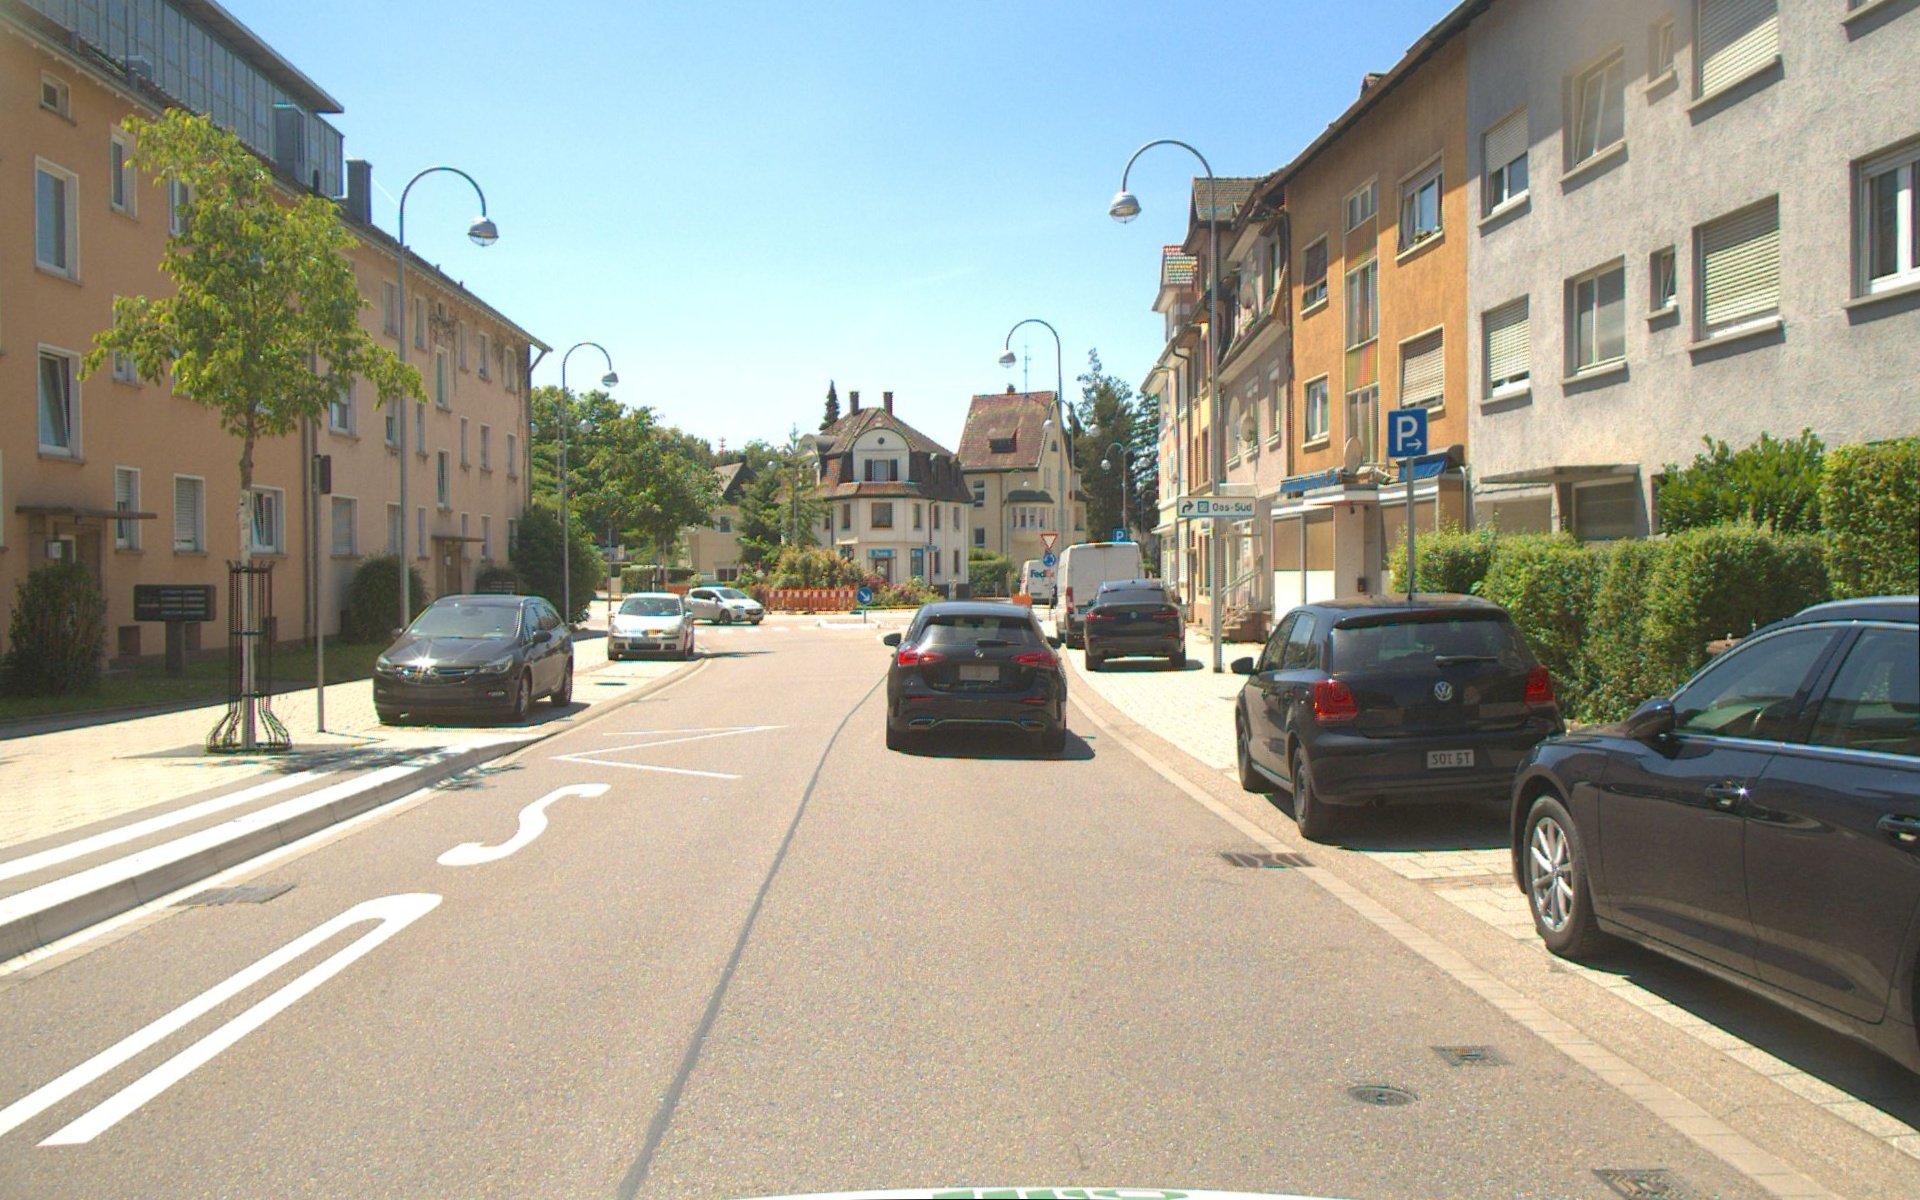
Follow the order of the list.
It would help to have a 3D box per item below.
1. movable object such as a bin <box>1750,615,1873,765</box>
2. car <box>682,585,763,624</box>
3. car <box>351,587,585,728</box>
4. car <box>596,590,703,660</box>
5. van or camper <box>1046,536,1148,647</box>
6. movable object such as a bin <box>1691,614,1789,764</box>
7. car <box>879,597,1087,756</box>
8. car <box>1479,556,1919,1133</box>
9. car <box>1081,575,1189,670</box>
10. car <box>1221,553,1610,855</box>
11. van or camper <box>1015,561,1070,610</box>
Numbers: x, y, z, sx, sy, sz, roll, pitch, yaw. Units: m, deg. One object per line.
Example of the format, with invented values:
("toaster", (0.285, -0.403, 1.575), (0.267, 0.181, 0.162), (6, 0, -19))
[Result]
("movable object such as a bin", (6.576, 0.678, 12.797), (0.542, 1.104, 0.776), (-1, 0, -1))
("car", (-9.555, 0.167, 66.484), (1.647, 1.523, 3.709), (-1, 0, -37))
("car", (-6.144, 0.644, 21.218), (1.820, 1.533, 4.560), (1, 1, -3))
("car", (-7.019, 0.534, 37.736), (1.955, 1.445, 4.084), (1, 1, -5))
("van or camper", (3.481, -0.230, 43.138), (2.120, 2.634, 5.766), (-2, 0, 0))
("movable object such as a bin", (6.030, 0.675, 12.801), (0.477, 1.123, 0.555), (-1, 0, -2))
("car", (0.180, 0.735, 17.345), (1.914, 1.452, 3.999), (1, -1, -1))
("car", (3.404, 0.631, 5.302), (1.767, 1.500, 4.718), (-4, 1, -2))
("car", (3.389, 0.392, 31.672), (1.855, 1.635, 4.368), (-2, 0, 7))
("car", (2.950, 0.575, 11.585), (1.692, 1.661, 4.001), (-3, 1, 2))
("van or camper", (4.554, -0.812, 90.698), (2.159, 2.656, 4.003), (0, 1, 16))
